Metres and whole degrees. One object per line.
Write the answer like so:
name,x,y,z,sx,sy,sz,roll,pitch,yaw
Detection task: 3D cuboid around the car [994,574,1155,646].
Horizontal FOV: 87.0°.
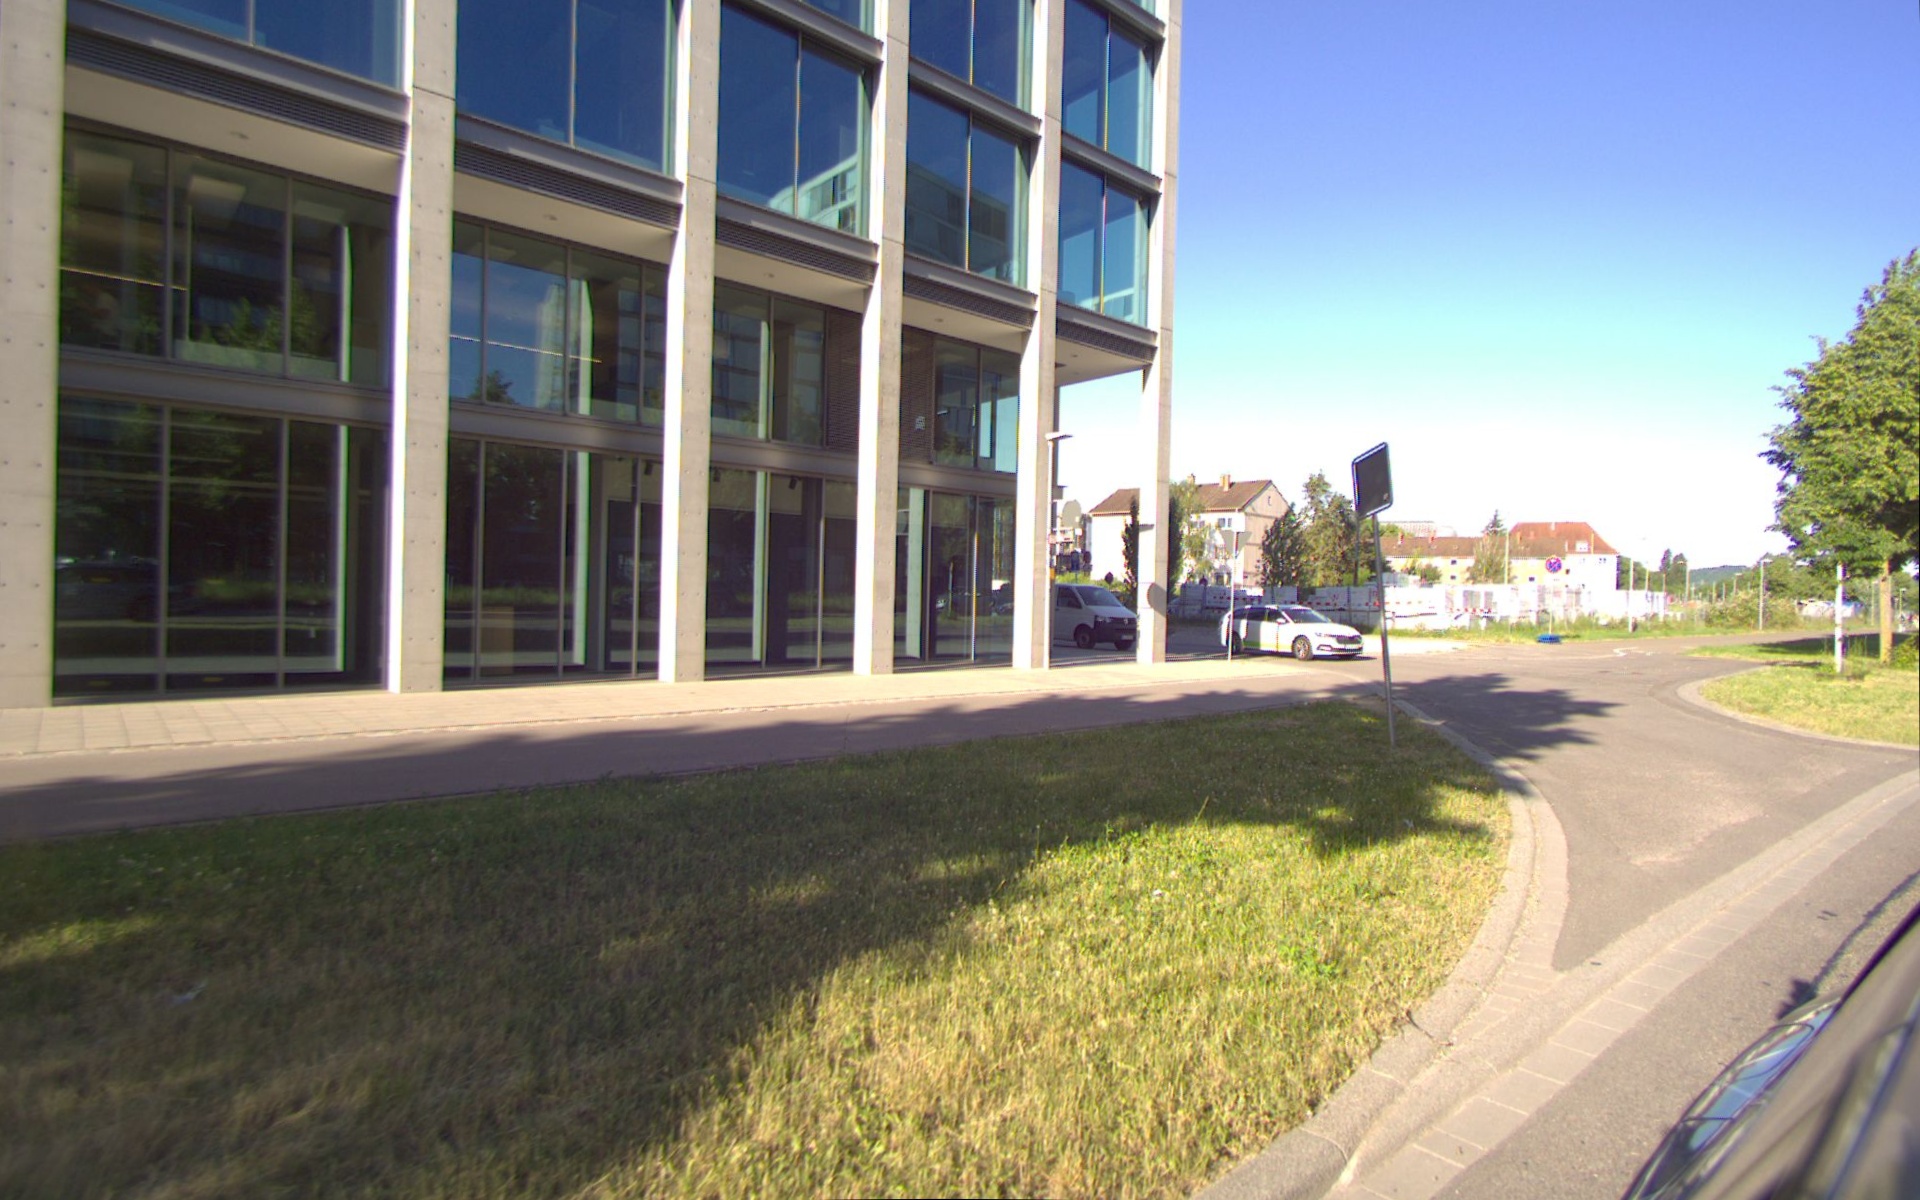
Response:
car,3.393,0.242,30.973,1.902,2.007,5.081,2,0,-37

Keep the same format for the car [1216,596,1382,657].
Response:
car,9.308,0.660,28.168,1.737,1.410,4.536,0,2,-25

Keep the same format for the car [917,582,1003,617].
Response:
car,0.030,-0.045,50.389,3.931,1.635,1.997,0,1,-41
